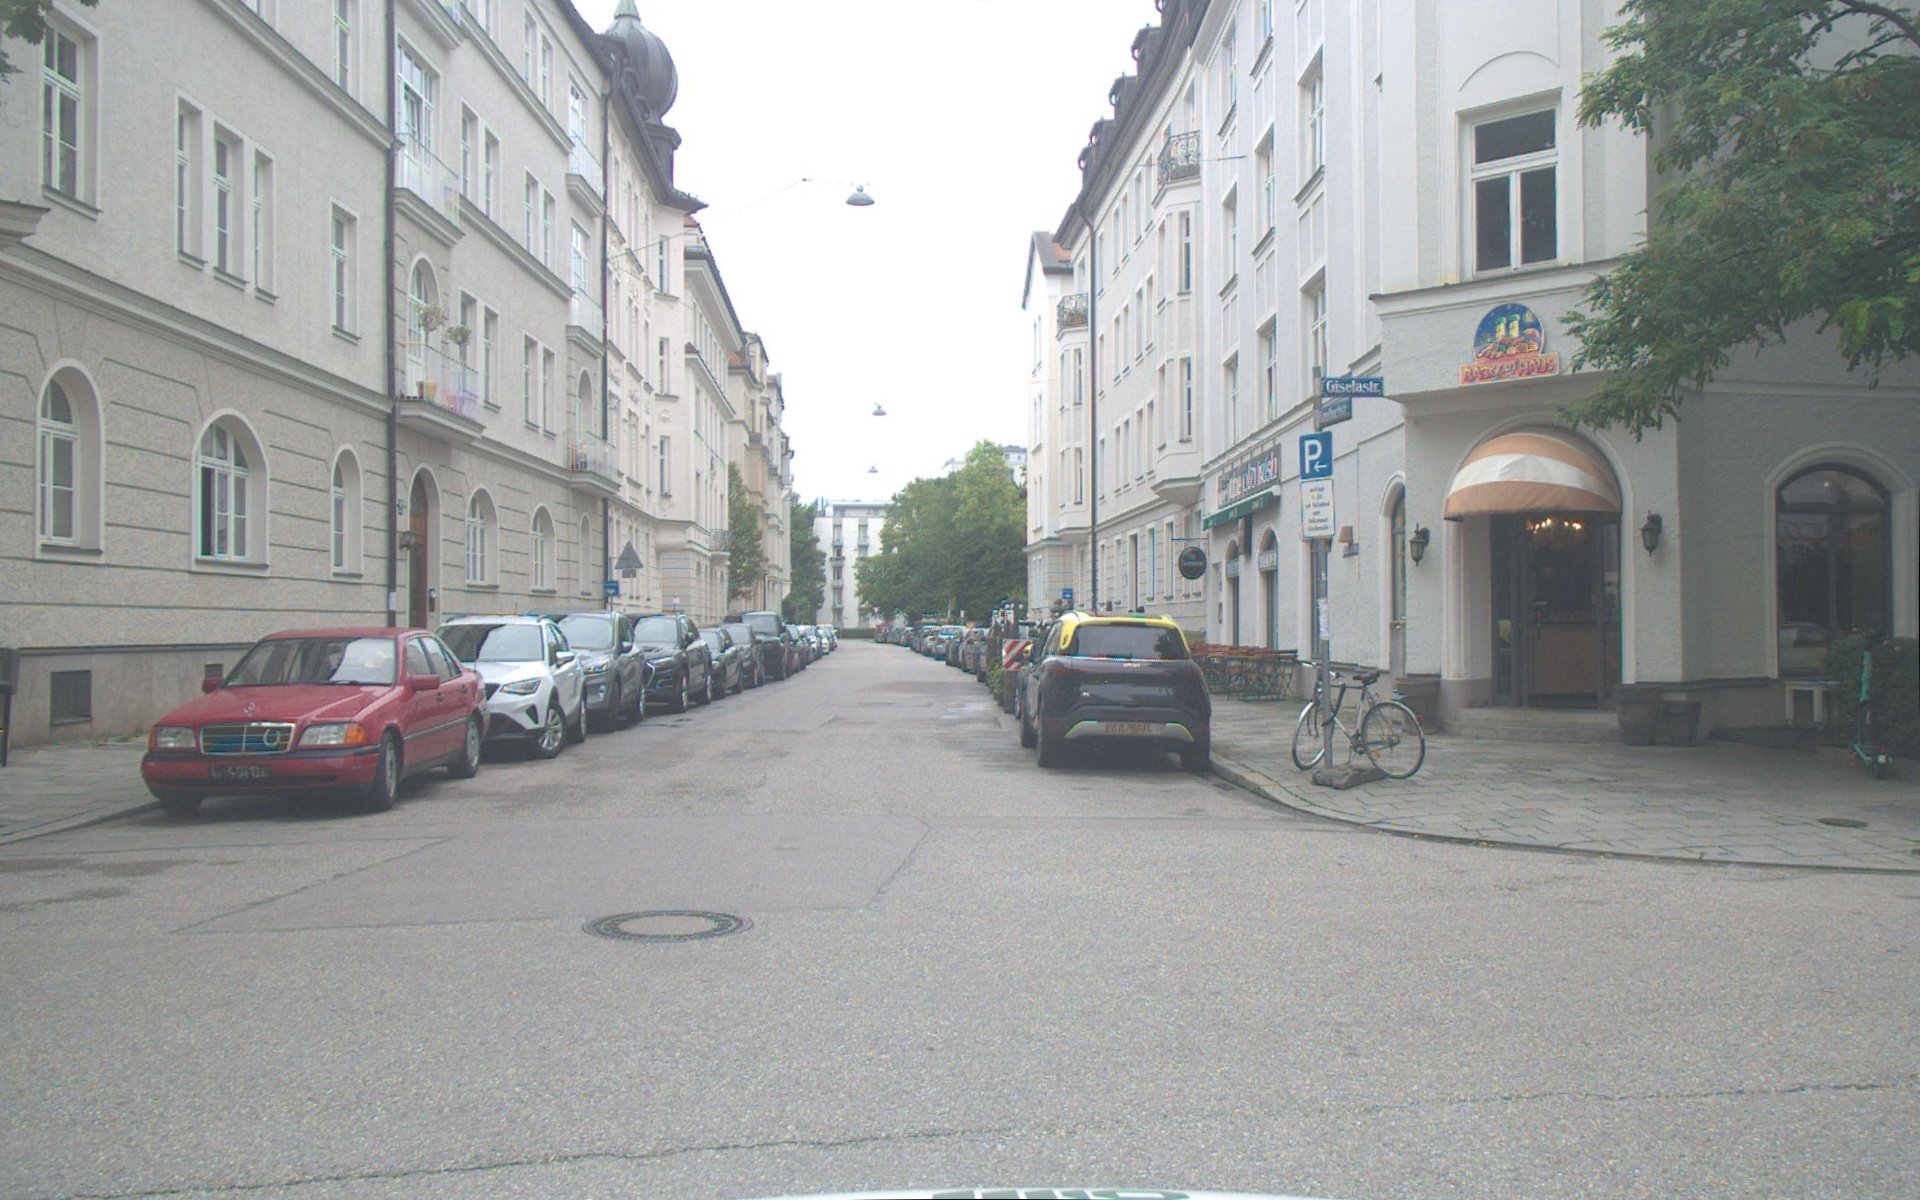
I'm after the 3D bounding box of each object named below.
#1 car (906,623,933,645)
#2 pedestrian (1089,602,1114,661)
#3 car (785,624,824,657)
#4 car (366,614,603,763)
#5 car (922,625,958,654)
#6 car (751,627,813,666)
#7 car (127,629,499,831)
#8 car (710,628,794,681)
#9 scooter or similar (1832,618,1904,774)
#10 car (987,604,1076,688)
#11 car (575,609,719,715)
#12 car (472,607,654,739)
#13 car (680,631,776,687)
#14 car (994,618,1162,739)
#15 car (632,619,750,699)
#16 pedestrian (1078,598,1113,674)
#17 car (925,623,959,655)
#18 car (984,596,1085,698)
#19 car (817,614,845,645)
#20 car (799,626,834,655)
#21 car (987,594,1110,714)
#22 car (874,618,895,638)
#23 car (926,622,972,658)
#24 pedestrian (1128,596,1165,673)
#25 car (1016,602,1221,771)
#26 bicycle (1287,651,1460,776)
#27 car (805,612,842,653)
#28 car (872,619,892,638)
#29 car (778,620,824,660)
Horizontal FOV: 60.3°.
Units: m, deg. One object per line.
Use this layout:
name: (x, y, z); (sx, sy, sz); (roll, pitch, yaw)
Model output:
car: (-3.284, 2.720, 132.673); (1.912, 1.681, 3.996); (-2, -1, -4)
pedestrian: (4.602, 1.016, 53.769); (0.761, 1.883, 0.860); (0, -1, 6)
car: (-7.004, 1.806, 74.789); (1.700, 1.444, 3.996); (0, -1, -5)
car: (-5.299, 0.924, 18.978); (1.956, 1.499, 4.212); (0, -1, -7)
car: (-1.081, 2.076, 87.619); (1.696, 1.442, 3.848); (0, -1, -4)
car: (-6.131, 1.590, 57.284); (1.868, 1.243, 3.998); (0, -1, -3)
car: (-5.225, 0.966, 13.977); (1.696, 1.402, 4.223); (0, -1, -3)
car: (-5.683, 1.468, 45.531); (1.868, 1.352, 3.999); (0, -1, -1)
scooter or similar: (8.112, 0.827, 14.807); (0.418, 1.301, 1.279); (0, 1, 22)
car: (1.634, 1.056, 39.371); (1.952, 1.889, 4.345); (0, -1, 0)
car: (-5.347, 1.020, 28.788); (1.954, 1.705, 4.285); (0, -1, -4)
car: (-5.575, 0.979, 23.687); (1.955, 1.705, 4.008); (0, -1, -5)
car: (-5.663, 1.423, 40.792); (1.868, 1.243, 3.999); (0, -1, -1)
car: (1.590, 1.054, 23.853); (1.936, 1.524, 4.635); (2, -1, -2)
car: (-5.582, 1.190, 34.748); (1.886, 1.573, 3.999); (0, -1, -1)
pedestrian: (3.423, 0.901, 41.842); (0.762, 1.883, 1.022); (0, -1, -1)
car: (-1.166, 2.460, 105.690); (1.954, 2.017, 4.889); (0, -1, -3)
car: (1.501, 0.953, 34.670); (1.783, 1.957, 4.182); (2, -1, -2)
car: (-8.855, 2.018, 113.652); (1.809, 2.049, 3.997); (0, -1, -4)
car: (-8.308, 2.326, 95.829); (1.954, 1.601, 3.996); (0, -1, -4)
car: (1.482, 0.909, 29.127); (1.783, 1.904, 4.287); (2, -1, -2)
car: (-7.872, 2.874, 171.871); (1.955, 2.017, 4.887); (0, -1, -5)
car: (-0.537, 1.856, 76.912); (1.869, 1.604, 3.996); (0, -1, -4)
pedestrian: (4.657, 0.856, 41.339); (0.762, 1.883, 1.022); (0, -1, -1)
car: (1.681, 0.902, 18.878); (1.783, 1.665, 4.287); (2, -1, -2)
bicycle: (3.779, 1.013, 15.256); (0.532, 1.016, 1.741); (-3, 1, -25)
car: (-6.995, 1.672, 85.208); (1.809, 2.049, 3.997); (0, -1, -4)
car: (-8.661, 3.151, 182.967); (1.955, 2.017, 4.887); (0, -1, -5)
car: (-6.585, 1.621, 68.850); (1.784, 1.601, 3.996); (0, -1, -4)
